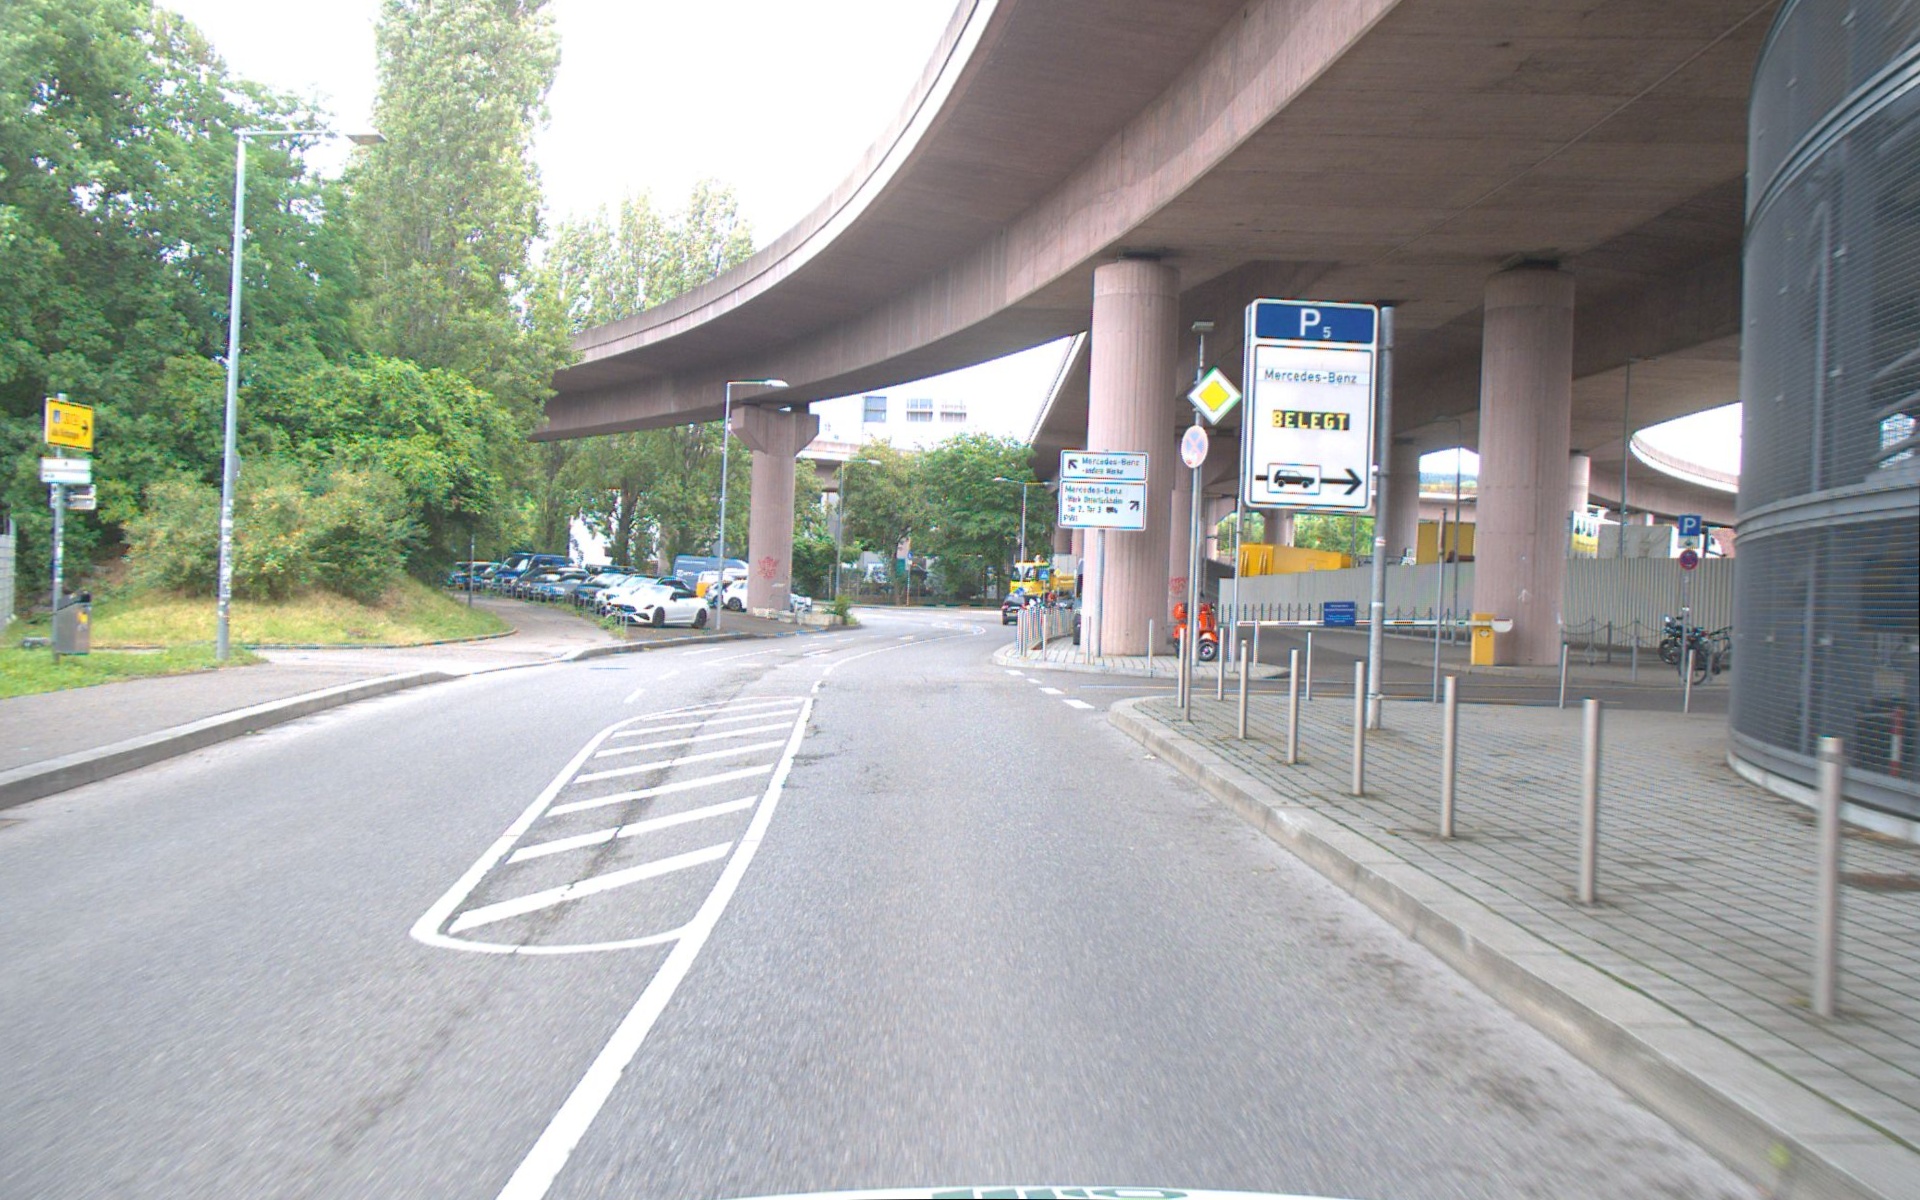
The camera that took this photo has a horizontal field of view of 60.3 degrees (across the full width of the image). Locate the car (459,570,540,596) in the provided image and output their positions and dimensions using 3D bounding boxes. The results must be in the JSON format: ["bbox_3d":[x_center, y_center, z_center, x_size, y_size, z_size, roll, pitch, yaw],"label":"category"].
[{"bbox_3d":[-26.418,-0.949,95.046,1.953,1.460,4.643,0,0,24],"label":"car"}]

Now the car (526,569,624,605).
[{"bbox_3d":[-17.743,-0.587,76.480,1.820,1.513,4.887,4,2,23],"label":"car"}]

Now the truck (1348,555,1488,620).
[{"bbox_3d":[23.106,-0.673,83.121,3.093,2.995,8.662,-2,-1,43],"label":"truck"}]

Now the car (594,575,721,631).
[{"bbox_3d":[-10.192,0.126,56.177,1.953,1.505,4.828,6,-1,20],"label":"car"}]

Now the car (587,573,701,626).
[{"bbox_3d":[-11.434,0.013,60.198,1.954,1.610,4.400,6,0,21],"label":"car"}]

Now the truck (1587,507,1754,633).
[{"bbox_3d":[25.872,-0.999,59.864,2.763,4.231,9.875,0,0,40],"label":"truck"}]

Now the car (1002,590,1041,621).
[{"bbox_3d":[3.495,0.296,94.740,1.953,1.708,4.559,2,0,-1],"label":"car"}]

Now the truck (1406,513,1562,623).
[{"bbox_3d":[23.106,-1.312,72.549,3.090,4.521,9.673,0,0,40],"label":"truck"}]

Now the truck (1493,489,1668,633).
[{"bbox_3d":[23.459,-1.355,62.180,3.090,5.010,9.673,1,0,40],"label":"truck"}]

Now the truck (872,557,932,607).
[{"bbox_3d":[-4.965,-1.457,139.807,3.020,4.033,6.883,2,-1,-19],"label":"truck"}]

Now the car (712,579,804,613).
[{"bbox_3d":[-10.235,-0.204,83.877,4.154,1.395,2.002,4,1,10],"label":"car"}]

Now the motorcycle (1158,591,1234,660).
[{"bbox_3d":[5.049,0.527,35.536,0.783,1.390,2.120,0,1,-17],"label":"motorcycle"}]

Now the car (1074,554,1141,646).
[{"bbox_3d":[4.561,-0.023,51.539,1.951,2.658,6.078,1,0,4],"label":"car"}]

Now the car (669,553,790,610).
[{"bbox_3d":[-12.426,-1.009,89.401,6.047,2.772,2.369,3,1,2],"label":"car"}]

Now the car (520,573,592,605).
[{"bbox_3d":[-19.337,-0.518,79.286,1.609,1.466,3.737,1,0,18],"label":"car"}]

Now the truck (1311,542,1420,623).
[{"bbox_3d":[26.263,-1.062,106.789,3.092,4.989,8.664,2,0,42],"label":"truck"}]

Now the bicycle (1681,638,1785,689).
[{"bbox_3d":[15.501,1.275,33.163,1.975,0.942,0.418,2,1,-9],"label":"bicycle"}]

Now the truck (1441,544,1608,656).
[{"bbox_3d":[23.158,-0.006,67.427,2.847,4.256,10.005,0,0,42],"label":"truck"}]

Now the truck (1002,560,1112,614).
[{"bbox_3d":[6.964,-1.019,117.951,8.175,3.540,2.893,-1,5,-42],"label":"truck"}]

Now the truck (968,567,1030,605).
[{"bbox_3d":[3.194,-1.174,136.730,2.873,2.949,6.519,0,2,-21],"label":"truck"}]

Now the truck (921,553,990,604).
[{"bbox_3d":[-0.451,-1.793,135.278,3.021,3.934,8.000,0,2,-21],"label":"truck"}]

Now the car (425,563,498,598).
[{"bbox_3d":[-30.128,-1.191,100.039,1.804,1.831,4.302,0,4,24],"label":"car"}]

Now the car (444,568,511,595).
[{"bbox_3d":[-28.561,-1.072,97.950,1.752,1.500,3.887,1,0,22],"label":"car"}]

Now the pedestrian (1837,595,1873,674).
[{"bbox_3d":[21.557,0.825,39.856,0.628,1.858,0.506,1,0,17],"label":"pedestrian"}]

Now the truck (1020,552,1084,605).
[{"bbox_3d":[8.011,-1.917,145.332,3.016,4.374,8.014,0,2,-16],"label":"truck"}]

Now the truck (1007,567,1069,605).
[{"bbox_3d":[6.453,-1.162,138.016,2.873,2.949,6.519,0,2,-21],"label":"truck"}]

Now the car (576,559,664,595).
[{"bbox_3d":[-21.666,-1.465,105.452,4.983,2.108,2.260,1,-1,4],"label":"car"}]

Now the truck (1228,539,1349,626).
[{"bbox_3d":[19.830,-1.005,99.562,3.092,5.003,8.664,2,0,42],"label":"truck"}]

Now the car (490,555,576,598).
[{"bbox_3d":[-23.264,-1.244,90.284,2.074,2.294,5.018,0,0,21],"label":"car"}]

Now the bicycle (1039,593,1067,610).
[{"bbox_3d":[5.969,0.079,106.734,0.793,1.117,2.109,0,0,-30],"label":"bicycle"}]

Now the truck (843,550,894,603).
[{"bbox_3d":[-8.895,-2.290,159.494,3.151,4.863,8.015,0,2,-16],"label":"truck"}]

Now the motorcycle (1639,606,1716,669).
[{"bbox_3d":[16.227,0.821,37.480,0.766,1.256,2.538,1,2,3],"label":"motorcycle"}]

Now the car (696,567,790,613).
[{"bbox_3d":[-11.349,-0.518,86.492,4.459,2.148,1.852,3,0,8],"label":"car"}]

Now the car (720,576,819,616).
[{"bbox_3d":[-9.287,-0.183,80.783,4.288,1.633,1.956,4,1,13],"label":"car"}]

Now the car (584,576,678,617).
[{"bbox_3d":[-12.674,-0.122,63.892,1.751,1.479,3.745,2,0,23],"label":"car"}]

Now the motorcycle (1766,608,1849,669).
[{"bbox_3d":[19.133,0.851,37.401,0.560,1.124,2.330,1,4,-2],"label":"motorcycle"}]

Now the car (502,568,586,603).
[{"bbox_3d":[-20.705,-0.715,82.537,1.858,1.705,4.151,1,0,25],"label":"car"}]

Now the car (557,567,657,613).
[{"bbox_3d":[-14.161,-0.384,66.539,1.819,1.721,4.162,2,0,23],"label":"car"}]

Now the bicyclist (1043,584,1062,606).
[{"bbox_3d":[5.951,-0.309,106.768,0.788,1.430,1.055,0,0,-30],"label":"bicyclist"}]
